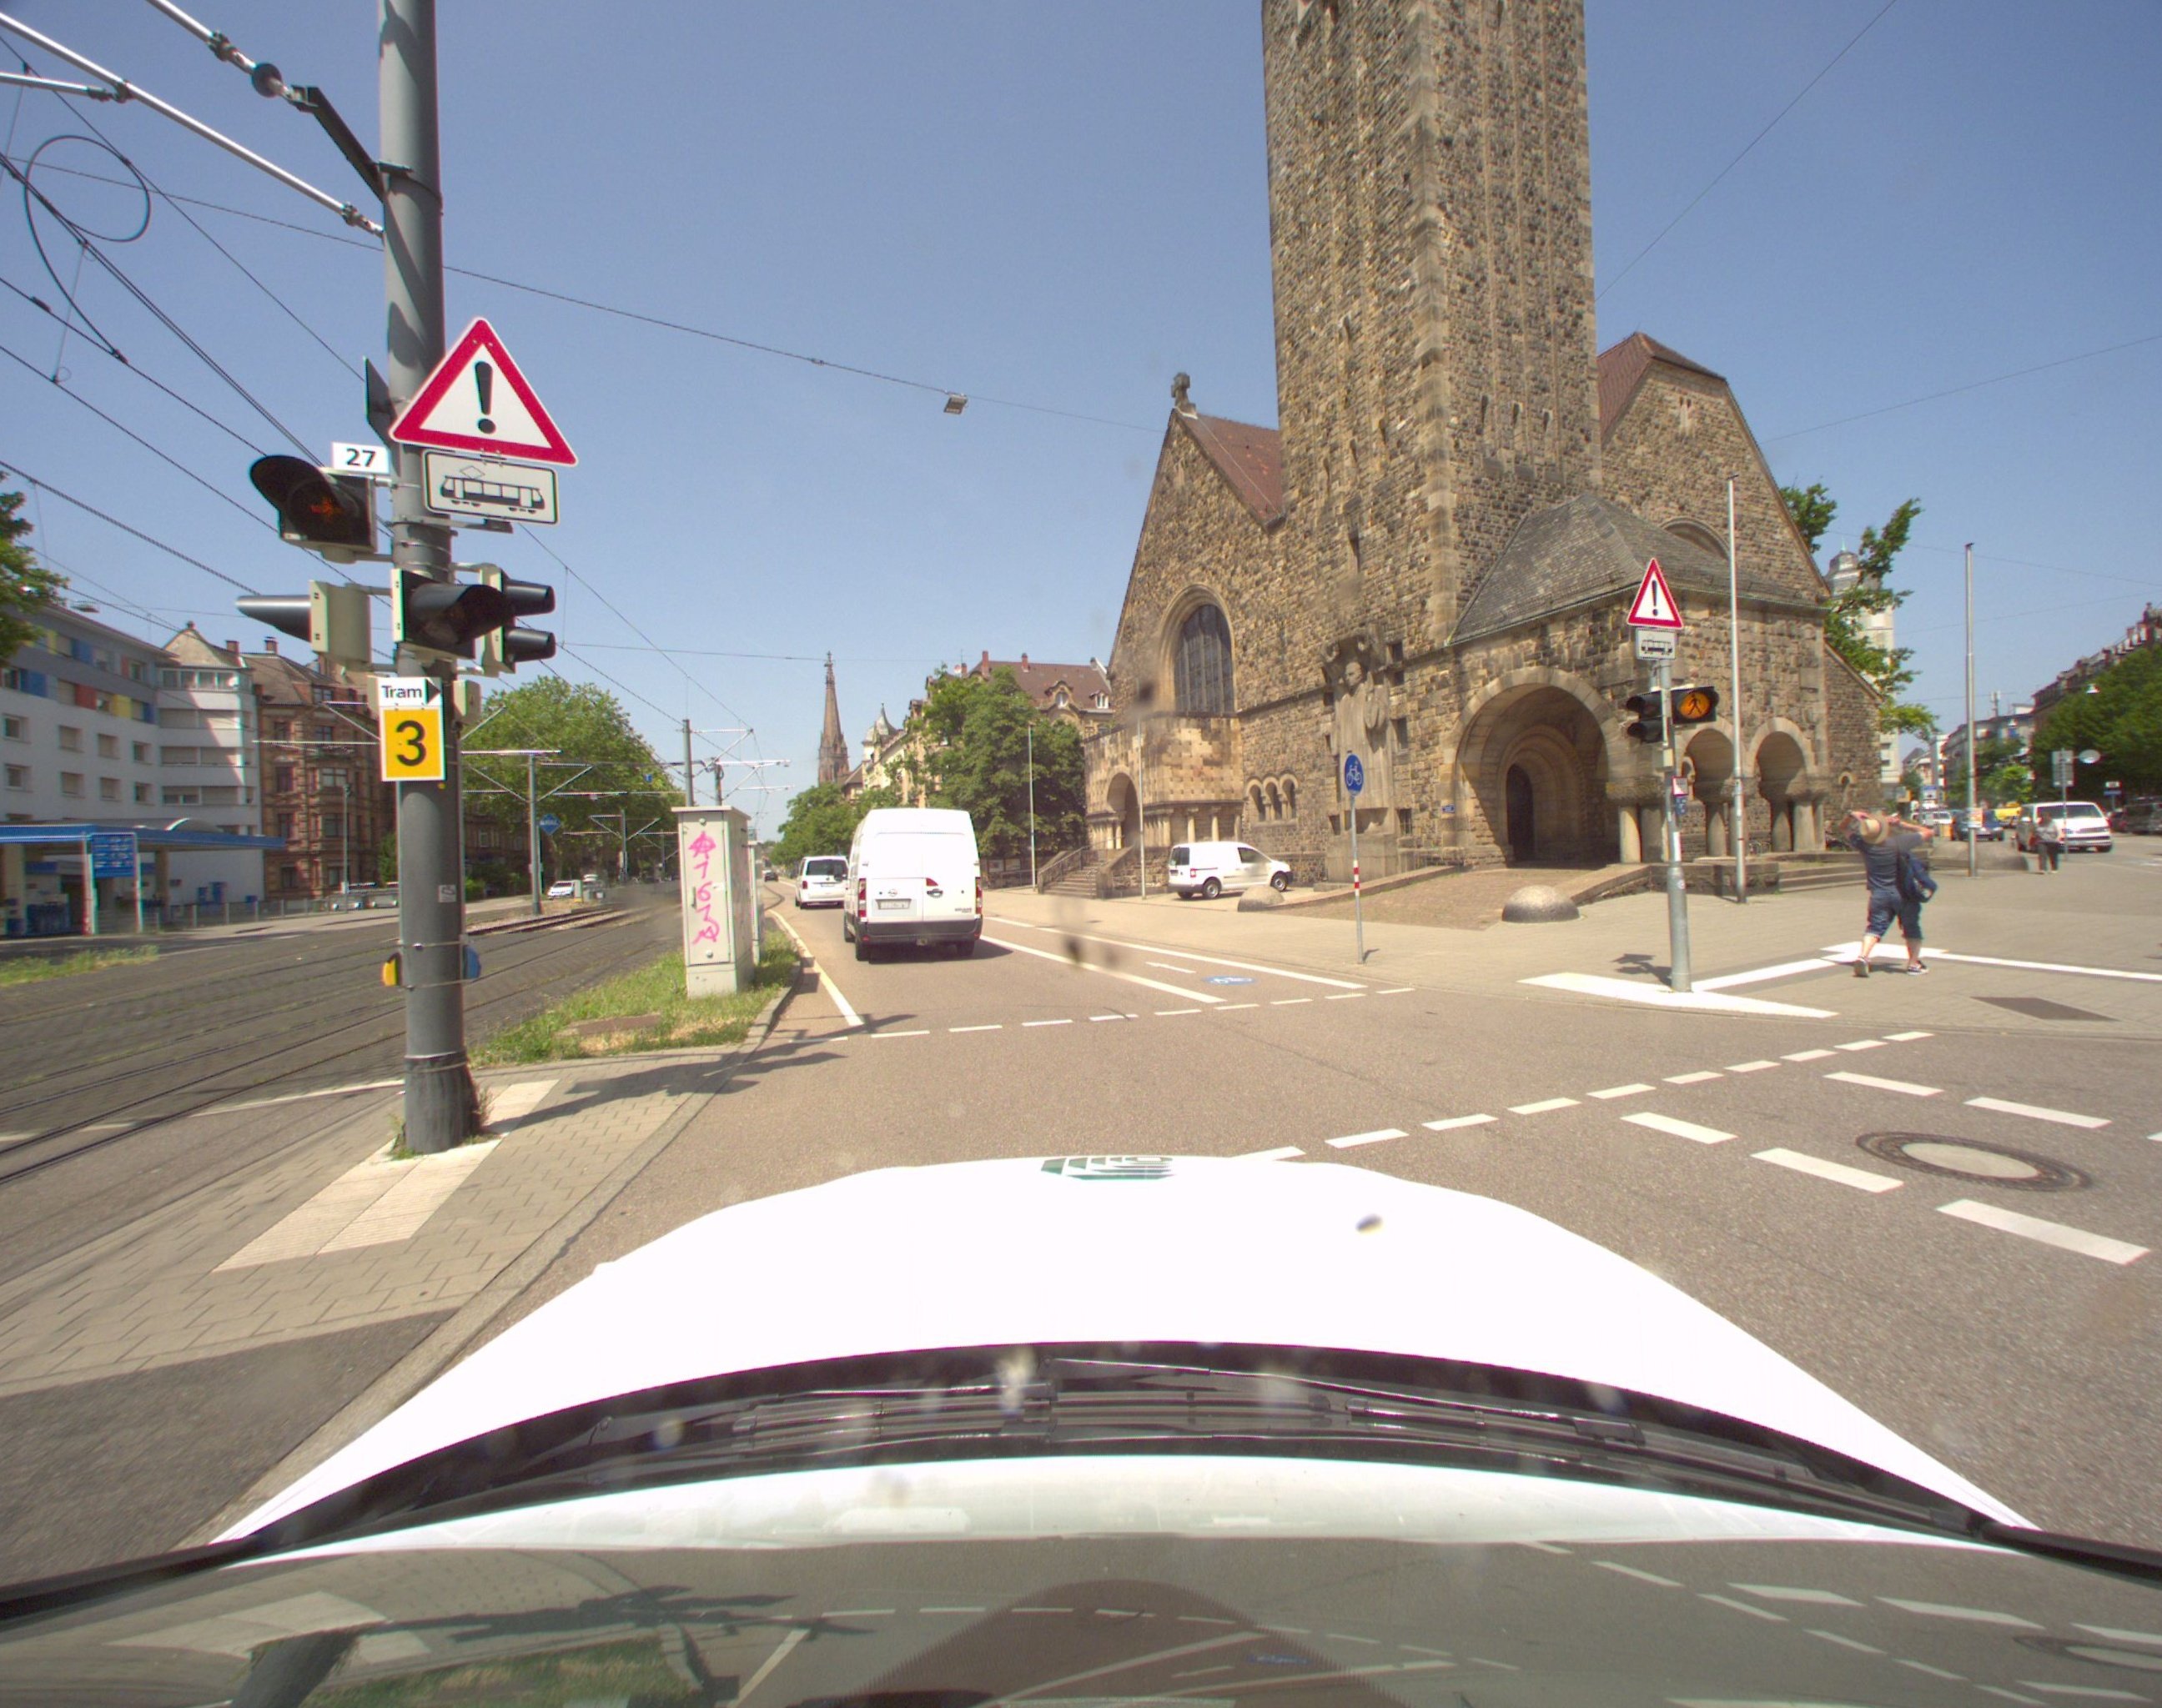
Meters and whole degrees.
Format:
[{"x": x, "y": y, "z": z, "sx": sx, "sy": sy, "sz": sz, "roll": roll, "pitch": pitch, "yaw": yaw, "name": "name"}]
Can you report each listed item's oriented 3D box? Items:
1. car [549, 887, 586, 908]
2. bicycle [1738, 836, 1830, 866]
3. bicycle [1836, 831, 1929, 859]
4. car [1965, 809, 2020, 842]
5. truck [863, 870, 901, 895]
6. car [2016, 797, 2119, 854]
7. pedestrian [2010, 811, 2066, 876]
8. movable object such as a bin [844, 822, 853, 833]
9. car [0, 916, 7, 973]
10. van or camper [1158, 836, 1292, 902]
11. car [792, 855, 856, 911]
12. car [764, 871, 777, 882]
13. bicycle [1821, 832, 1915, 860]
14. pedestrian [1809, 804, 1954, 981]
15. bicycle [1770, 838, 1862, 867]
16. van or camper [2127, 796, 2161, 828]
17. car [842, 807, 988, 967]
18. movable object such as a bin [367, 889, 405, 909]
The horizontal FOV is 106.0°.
[{"x": -45.402, "y": 3.836, "z": 72.054, "sx": 1.855, "sy": 1.625, "sz": 4.568, "roll": -4, "pitch": 0, "yaw": -22, "name": "car"}, {"x": 25.423, "y": -0.086, "z": 29.525, "sx": 0.706, "sy": 1.011, "sz": 2.481, "roll": -2, "pitch": 0, "yaw": -21, "name": "bicycle"}, {"x": 30.986, "y": -0.340, "z": 31.558, "sx": 0.706, "sy": 1.011, "sz": 2.481, "roll": -2, "pitch": 0, "yaw": -21, "name": "bicycle"}, {"x": 52.864, "y": -1.647, "z": 47.221, "sx": 4.021, "sy": 1.728, "sz": 1.976, "roll": -2, "pitch": -1, "yaw": -41, "name": "car"}, {"x": -13.069, "y": 1.830, "z": 53.358, "sx": 1.797, "sy": 1.526, "sz": 4.432, "roll": -2, "pitch": -1, "yaw": -22, "name": "truck"}, {"x": 38.680, "y": -1.104, "z": 32.057, "sx": 2.019, "sy": 2.004, "sz": 4.998, "roll": -3, "pitch": 0, "yaw": 45, "name": "car"}, {"x": 23.387, "y": -0.249, "z": 19.908, "sx": 0.794, "sy": 1.559, "sz": 0.714, "roll": -2, "pitch": -1, "yaw": -29, "name": "pedestrian"}, {"x": -21.887, "y": -2.512, "z": 76.716, "sx": 0.789, "sy": 1.014, "sz": 0.646, "roll": -2, "pitch": -1, "yaw": -17, "name": "movable object such as a bin"}, {"x": -27.525, "y": 2.319, "z": 18.767, "sx": 1.603, "sy": 1.420, "sz": 3.752, "roll": -4, "pitch": 0, "yaw": -23, "name": "car"}, {"x": 4.799, "y": 0.461, "z": 27.148, "sx": 4.006, "sy": 1.825, "sz": 1.788, "roll": -4, "pitch": 1, "yaw": -24, "name": "van or camper"}, {"x": -10.073, "y": 1.097, "z": 31.741, "sx": 1.925, "sy": 1.944, "sz": 4.230, "roll": -2, "pitch": -1, "yaw": -23, "name": "car"}, {"x": -46.506, "y": 3.359, "z": 121.893, "sx": 1.757, "sy": 1.539, "sz": 3.730, "roll": -2, "pitch": -1, "yaw": -23, "name": "car"}, {"x": 29.953, "y": -0.286, "z": 31.067, "sx": 0.706, "sy": 1.011, "sz": 2.481, "roll": -2, "pitch": 0, "yaw": -21, "name": "bicycle"}, {"x": 8.774, "y": 0.397, "z": 8.955, "sx": 0.744, "sy": 1.822, "sz": 0.829, "roll": -2, "pitch": -1, "yaw": -15, "name": "pedestrian"}, {"x": 27.568, "y": -0.030, "z": 30.610, "sx": 0.706, "sy": 1.011, "sz": 2.481, "roll": -2, "pitch": 0, "yaw": -21, "name": "bicycle"}, {"x": 65.638, "y": -2.610, "z": 48.142, "sx": 4.279, "sy": 1.838, "sz": 2.009, "roll": -3, "pitch": 0, "yaw": 16, "name": "van or camper"}, {"x": -3.320, "y": 0.540, "z": 15.365, "sx": 2.123, "sy": 2.459, "sz": 5.024, "roll": -2, "pitch": -1, "yaw": -18, "name": "car"}, {"x": -52.230, "y": 3.361, "z": 61.260, "sx": 1.791, "sy": 1.385, "sz": 1.458, "roll": -2, "pitch": 0, "yaw": -25, "name": "movable object such as a bin"}]
